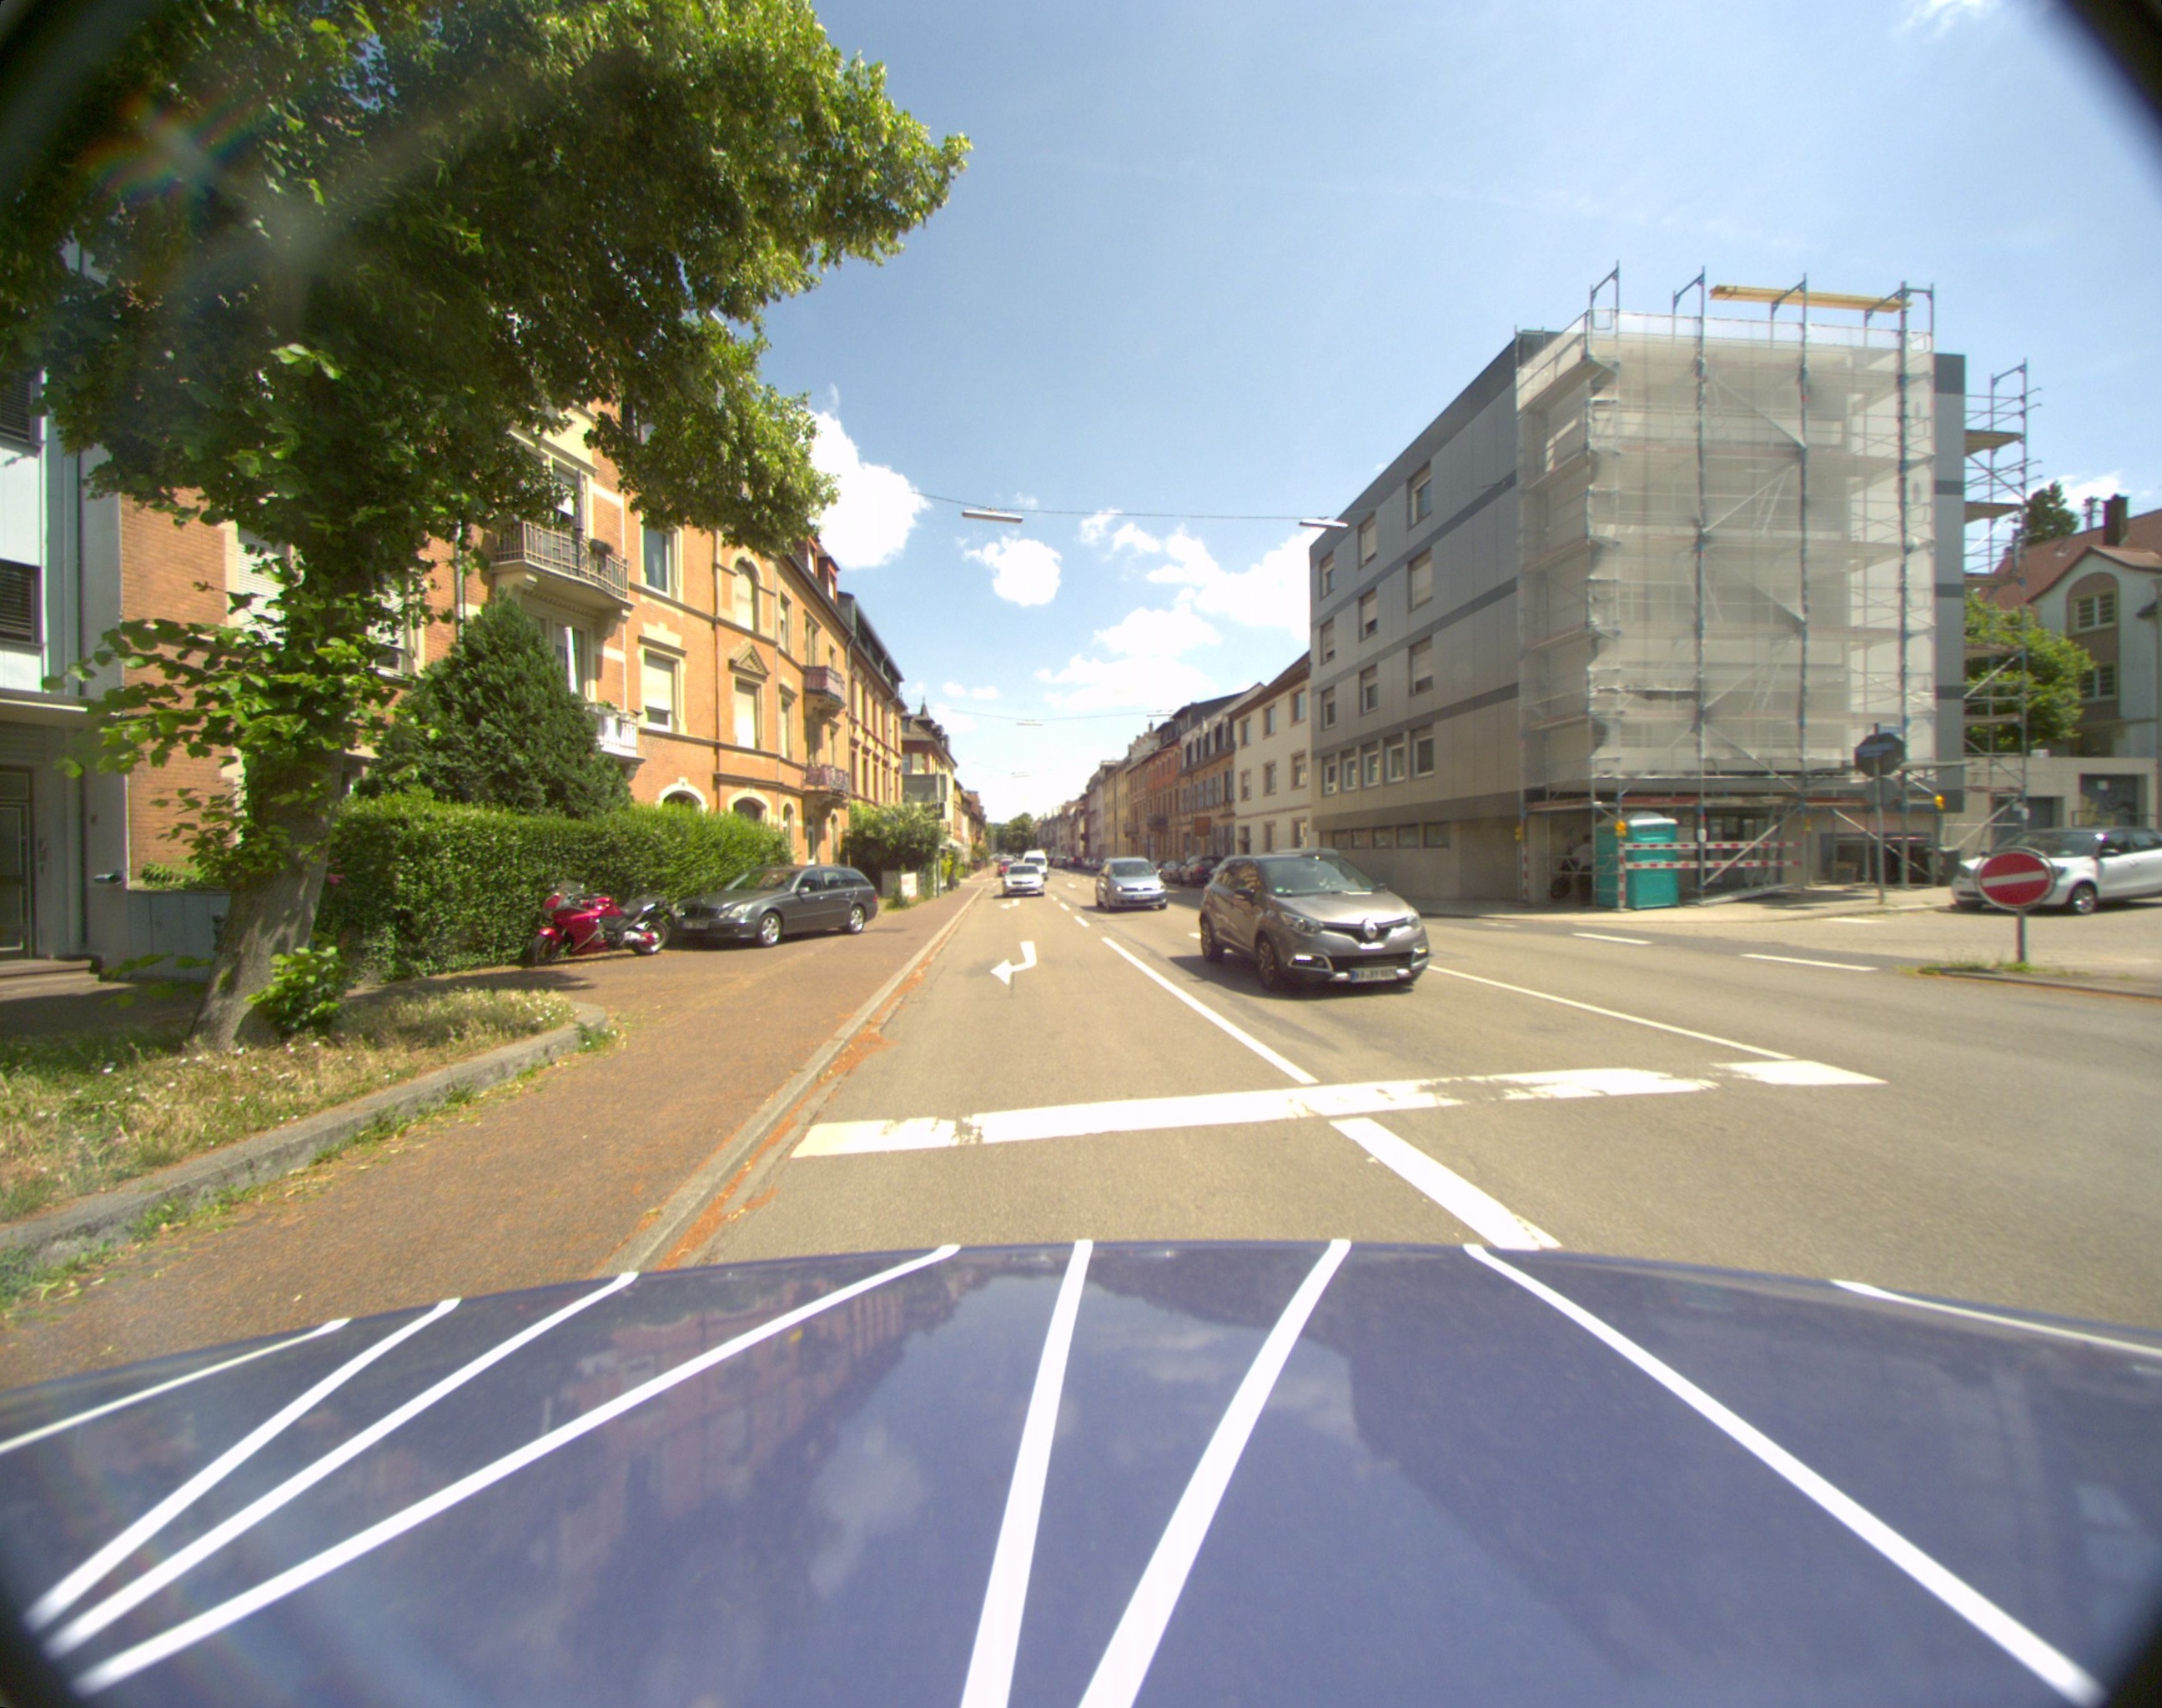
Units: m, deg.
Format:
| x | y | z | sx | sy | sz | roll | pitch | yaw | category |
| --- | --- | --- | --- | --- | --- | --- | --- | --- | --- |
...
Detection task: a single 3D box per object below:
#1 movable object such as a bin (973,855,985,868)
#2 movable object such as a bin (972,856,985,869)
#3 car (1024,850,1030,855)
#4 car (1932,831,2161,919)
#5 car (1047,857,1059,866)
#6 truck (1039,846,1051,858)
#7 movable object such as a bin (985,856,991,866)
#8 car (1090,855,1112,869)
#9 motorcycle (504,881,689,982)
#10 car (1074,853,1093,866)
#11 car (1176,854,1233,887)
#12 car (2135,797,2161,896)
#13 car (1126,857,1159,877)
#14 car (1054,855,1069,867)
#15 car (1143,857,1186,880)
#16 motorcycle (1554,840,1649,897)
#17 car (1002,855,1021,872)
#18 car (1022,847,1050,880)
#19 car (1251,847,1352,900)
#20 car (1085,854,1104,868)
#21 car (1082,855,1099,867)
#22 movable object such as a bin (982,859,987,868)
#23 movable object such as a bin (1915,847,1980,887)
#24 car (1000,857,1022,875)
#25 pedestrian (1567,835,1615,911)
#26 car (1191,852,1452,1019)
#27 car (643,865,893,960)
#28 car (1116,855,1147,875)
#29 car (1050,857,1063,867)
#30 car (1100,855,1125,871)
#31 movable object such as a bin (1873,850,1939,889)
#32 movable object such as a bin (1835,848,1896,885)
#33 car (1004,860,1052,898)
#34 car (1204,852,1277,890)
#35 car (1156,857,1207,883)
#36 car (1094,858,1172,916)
| x | y | z | sx | sy | sz | roll | pitch | yaw | category |
| --- | --- | --- | --- | --- | --- | --- | --- | --- | --- |
| -11.290 | 0.863 | 84.054 | 1.286 | 1.388 | 1.363 | -1 | 1 | -4 | movable object such as a bin |
| -11.151 | 0.893 | 82.645 | 1.286 | 1.388 | 1.412 | -1 | 1 | -4 | movable object such as a bin |
| -15.651 | -0.475 | 220.367 | 1.709 | 1.470 | 3.929 | -3 | 1 | -6 | car |
| 19.033 | 0.357 | 14.629 | 3.740 | 1.439 | 1.757 | -2 | 0 | -9 | car |
| -4.753 | 1.311 | 129.789 | 1.765 | 1.486 | 4.243 | 0 | 0 | -6 | car |
| -8.538 | -0.489 | 178.488 | 2.324 | 2.725 | 8.063 | -1 | 0 | -6 | truck |
| -12.258 | 0.918 | 99.869 | 0.753 | 1.235 | 0.876 | -1 | 1 | -6 | movable object such as a bin |
| 2.242 | 0.939 | 87.337 | 1.910 | 1.443 | 4.683 | 3 | 0 | -5 | car |
| -7.137 | 1.080 | 11.385 | 0.931 | 1.294 | 2.284 | 0 | -1 | 16 | motorcycle |
| 0.368 | 0.751 | 105.115 | 1.747 | 1.579 | 3.956 | 3 | 0 | 10 | car |
| 6.535 | 0.827 | 40.760 | 1.890 | 1.631 | 4.815 | 0 | 0 | -5 | car |
| 24.459 | -0.348 | 15.170 | 5.012 | 2.002 | 1.998 | -5 | 1 | -11 | car |
| 4.985 | 1.016 | 61.704 | 1.870 | 1.418 | 4.328 | 3 | 0 | -6 | car |
| -2.560 | 0.903 | 99.329 | 1.706 | 1.565 | 4.310 | 0 | 0 | -5 | car |
| 5.773 | 1.000 | 53.165 | 1.871 | 1.398 | 4.327 | 3 | 0 | -9 | car |
| 13.945 | 0.401 | 20.434 | 2.037 | 1.463 | 0.883 | -2 | 1 | 32 | motorcycle |
| -7.358 | 0.988 | 80.702 | 1.762 | 1.542 | 4.064 | -3 | 1 | -4 | car |
| -3.301 | 0.657 | 56.436 | 1.905 | 2.261 | 5.670 | -1 | 0 | -2 | car |
| 8.132 | 0.670 | 28.508 | 1.920 | 1.815 | 4.785 | 0 | 0 | -7 | car |
| 1.657 | 0.863 | 93.802 | 1.870 | 1.542 | 4.311 | 3 | 0 | -6 | car |
| 1.237 | 0.891 | 98.786 | 1.750 | 1.402 | 3.913 | 3 | 0 | -4 | car |
| -11.220 | 1.104 | 88.332 | 0.626 | 0.923 | 0.611 | -1 | 1 | -6 | movable object such as a bin |
| 20.705 | 0.306 | 18.160 | 0.740 | 0.921 | 0.703 | -2 | 0 | -4 | movable object such as a bin |
| -6.490 | 1.073 | 70.138 | 1.763 | 1.470 | 3.781 | -3 | 1 | -8 | car |
| 12.620 | 0.449 | 18.818 | 0.791 | 1.822 | 0.706 | -2 | 1 | -35 | pedestrian |
| 2.746 | 0.827 | 9.715 | 1.759 | 1.622 | 3.998 | -2 | 0 | -5 | car |
| -5.849 | 1.003 | 15.104 | 1.837 | 1.539 | 5.163 | 0 | -1 | 15 | car |
| 4.364 | 0.954 | 66.828 | 1.871 | 1.618 | 4.497 | 3 | 0 | -7 | car |
| -3.538 | 1.133 | 110.208 | 1.706 | 1.469 | 4.131 | 0 | 0 | -5 | car |
| 3.173 | 0.919 | 77.979 | 1.871 | 1.542 | 4.497 | 3 | 0 | -7 | car |
| 20.623 | 0.374 | 19.011 | 0.740 | 0.921 | 0.826 | -2 | 0 | -4 | movable object such as a bin |
| 20.650 | 0.333 | 20.010 | 0.740 | 0.921 | 0.826 | -2 | 0 | -4 | movable object such as a bin |
| -2.290 | 1.069 | 33.861 | 1.905 | 1.489 | 4.486 | -1 | 0 | -1 | car |
| 7.173 | 0.725 | 34.733 | 1.891 | 1.631 | 4.660 | 0 | 0 | -7 | car |
| 6.230 | 0.972 | 47.787 | 1.871 | 1.398 | 4.834 | 3 | 0 | -8 | car |
| 1.490 | 0.921 | 23.230 | 1.759 | 1.559 | 3.998 | -2 | 0 | -5 | car |
